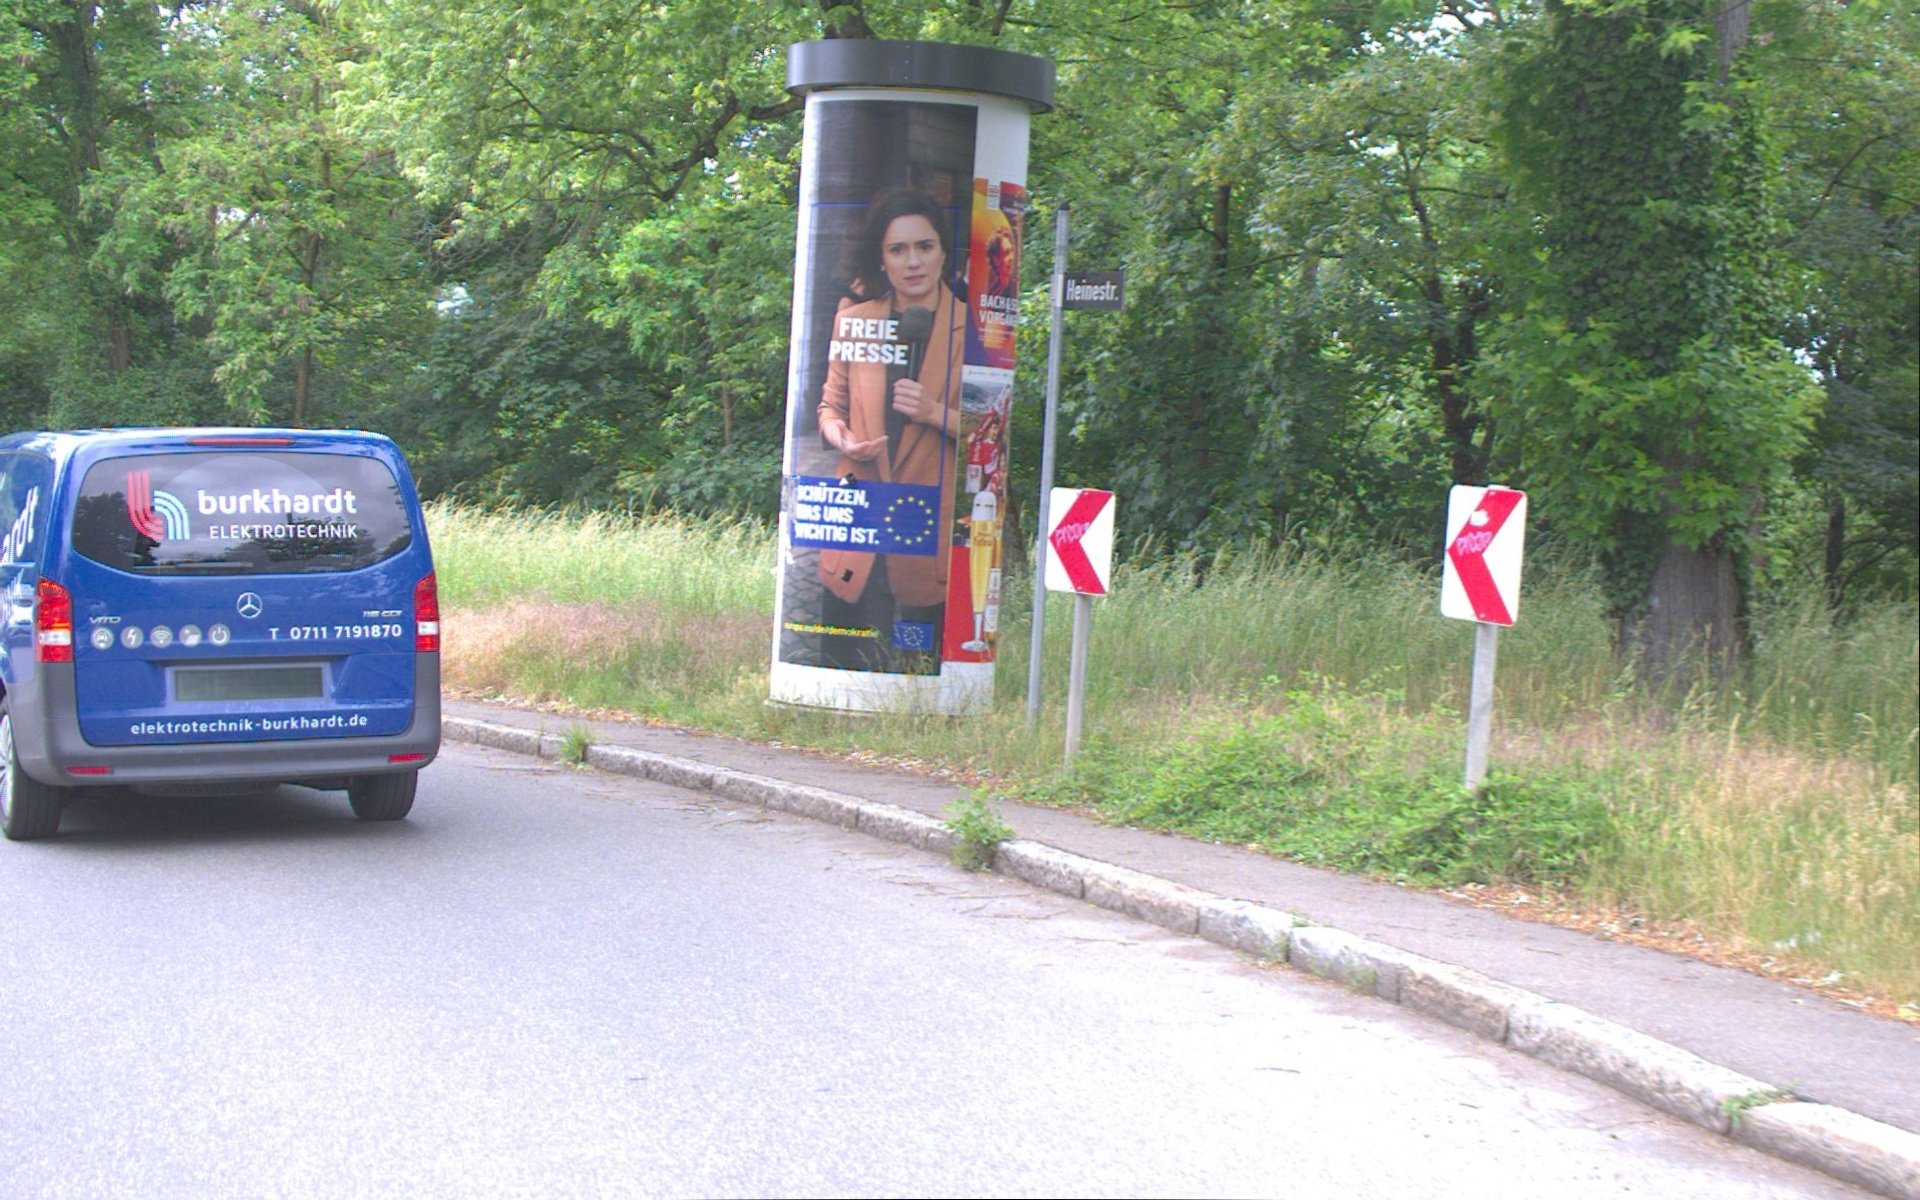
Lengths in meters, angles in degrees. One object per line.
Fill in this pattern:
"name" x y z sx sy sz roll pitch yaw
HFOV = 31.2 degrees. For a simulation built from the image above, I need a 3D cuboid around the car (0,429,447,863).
"car" -4.029 0.112 16.960 1.913 1.831 4.295 -2 2 -23
